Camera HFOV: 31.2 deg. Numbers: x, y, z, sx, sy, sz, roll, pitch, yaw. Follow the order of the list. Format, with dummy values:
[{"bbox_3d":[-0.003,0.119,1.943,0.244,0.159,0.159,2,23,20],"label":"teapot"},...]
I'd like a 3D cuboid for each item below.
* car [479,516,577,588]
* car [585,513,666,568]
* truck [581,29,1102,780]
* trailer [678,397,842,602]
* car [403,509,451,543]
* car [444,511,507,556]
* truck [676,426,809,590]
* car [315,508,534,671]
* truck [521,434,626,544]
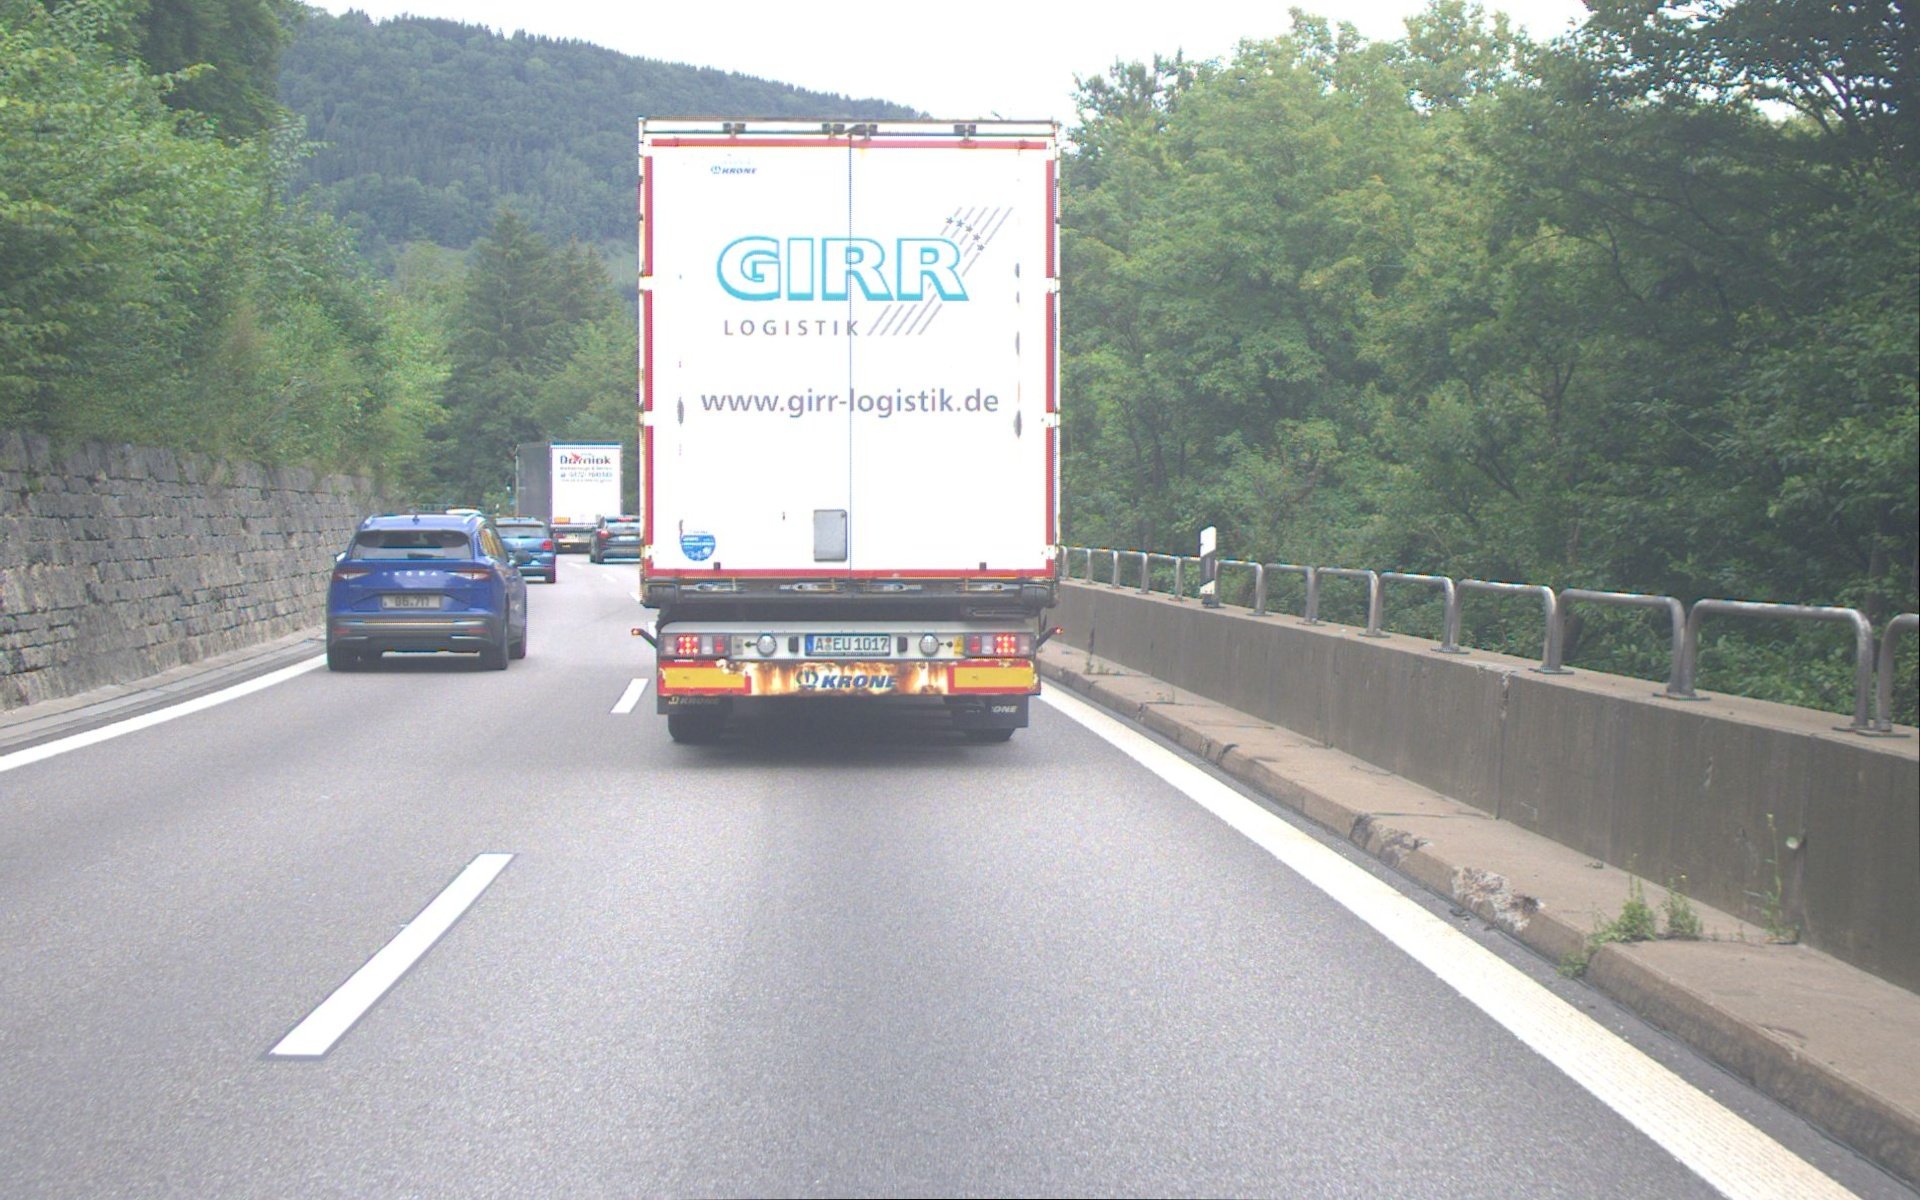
[{"bbox_3d":[-9.958,-1.120,79.092,1.993,1.590,4.355,1,1,-10],"label":"car"},{"bbox_3d":[-10.233,-1.839,104.964,2.060,1.648,4.001,0,1,-11],"label":"car"},{"bbox_3d":[-1.152,-1.338,28.010,3.084,4.448,15.158,0,1,-3],"label":"truck"},{"bbox_3d":[-3.466,-1.627,57.284,2.211,3.037,11.141,1,1,-6],"label":"trailer"},{"bbox_3d":[-25.489,-3.542,164.352,1.896,1.545,4.251,1,1,-13],"label":"car"},{"bbox_3d":[-17.585,-2.421,124.675,1.896,1.545,4.251,1,1,-13],"label":"car"},{"bbox_3d":[-4.026,-1.665,62.891,2.208,2.841,5.005,1,1,-6],"label":"truck"},{"bbox_3d":[-5.648,-0.162,36.772,1.993,1.626,5.009,0,1,-5],"label":"car"},{"bbox_3d":[-14.302,-4.033,126.540,2.633,3.844,12.363,0,1,-12],"label":"truck"}]
